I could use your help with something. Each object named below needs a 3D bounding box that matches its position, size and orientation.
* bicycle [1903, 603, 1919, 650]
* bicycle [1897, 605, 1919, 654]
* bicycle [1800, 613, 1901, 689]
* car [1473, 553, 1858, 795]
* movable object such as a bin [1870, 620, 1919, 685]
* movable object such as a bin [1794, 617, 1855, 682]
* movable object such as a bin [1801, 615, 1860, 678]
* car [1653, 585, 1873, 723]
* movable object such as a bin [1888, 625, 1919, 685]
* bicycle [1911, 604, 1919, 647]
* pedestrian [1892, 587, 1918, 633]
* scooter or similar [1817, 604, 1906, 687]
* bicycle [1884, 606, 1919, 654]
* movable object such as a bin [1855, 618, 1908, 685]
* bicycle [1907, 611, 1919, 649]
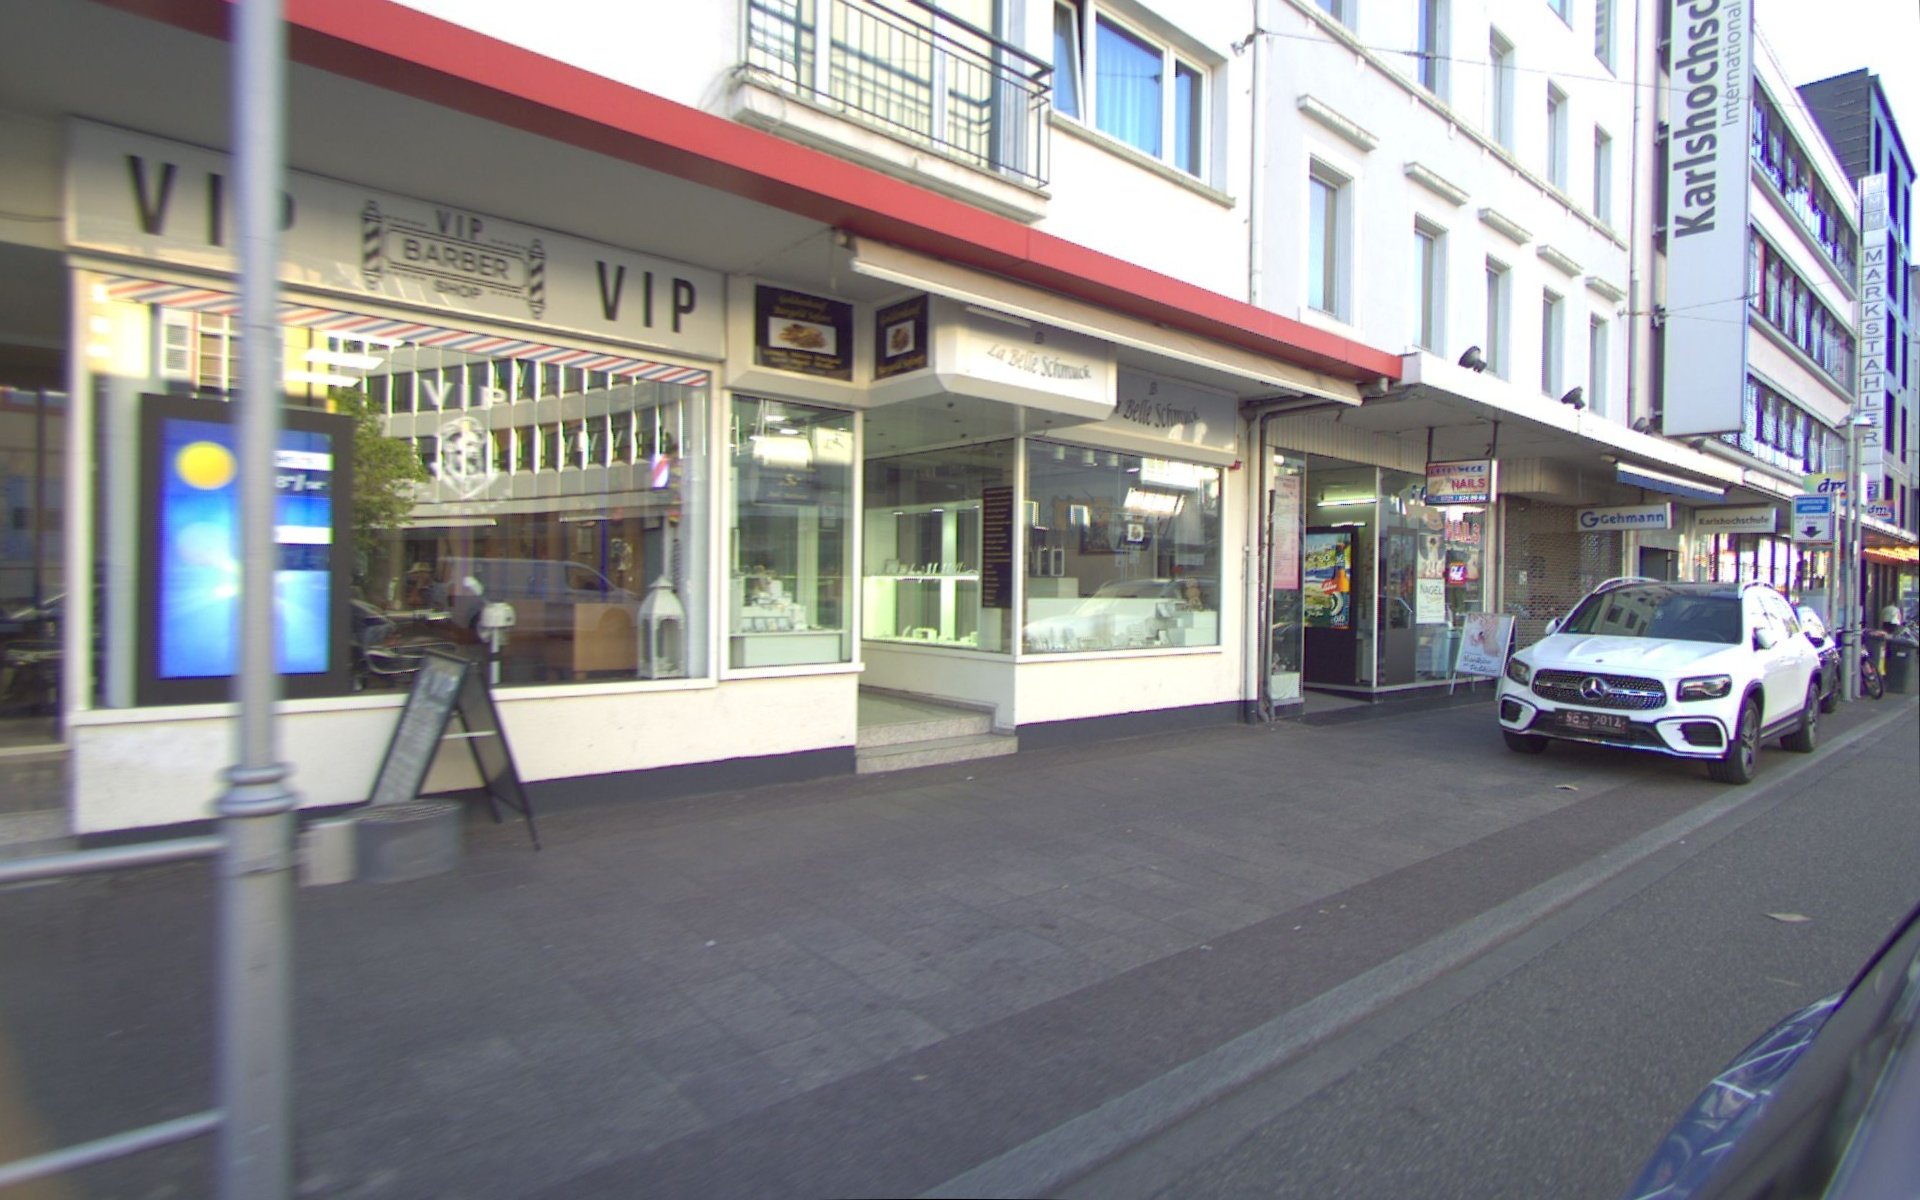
[{"bbox_3d":[26.142,0.722,26.678,0.577,1.232,1.790,0,1,-41],"label":"bicycle"},{"bbox_3d":[25.260,0.779,25.913,0.657,1.232,1.790,0,1,-41],"label":"bicycle"},{"bbox_3d":[14.142,0.792,16.089,0.314,1.093,1.133,0,3,-42],"label":"bicycle"},{"bbox_3d":[6.975,0.480,9.742,5.103,1.745,1.853,-1,3,-42],"label":"car"},{"bbox_3d":[15.682,0.869,16.866,0.499,1.027,0.688,0,1,-38],"label":"movable object such as a bin"},{"bbox_3d":[14.623,0.828,17.123,0.625,1.027,0.660,0,1,-38],"label":"movable object such as a bin"},{"bbox_3d":[15.168,0.799,17.633,0.625,1.027,0.660,0,1,-38],"label":"movable object such as a bin"},{"bbox_3d":[10.827,0.591,13.545,4.000,1.547,1.617,-1,2,-42],"label":"car"},{"bbox_3d":[16.104,0.922,17.142,0.449,0.970,0.489,0,2,-37],"label":"movable object such as a bin"},{"bbox_3d":[29.362,0.783,29.702,2.033,1.290,0.517,2,1,40],"label":"bicycle"},{"bbox_3d":[33.639,0.350,36.026,0.588,1.605,0.582,0,3,-42],"label":"pedestrian"},{"bbox_3d":[14.461,0.708,16.240,0.314,1.247,0.994,0,2,-42],"label":"scooter or similar"},{"bbox_3d":[24.390,0.778,25.323,0.657,1.174,1.790,0,1,-41],"label":"bicycle"},{"bbox_3d":[15.022,0.826,16.504,0.659,1.027,0.523,0,1,-38],"label":"movable object such as a bin"},{"bbox_3d":[27.119,0.858,27.624,0.586,1.045,1.776,0,1,-41],"label":"bicycle"}]
